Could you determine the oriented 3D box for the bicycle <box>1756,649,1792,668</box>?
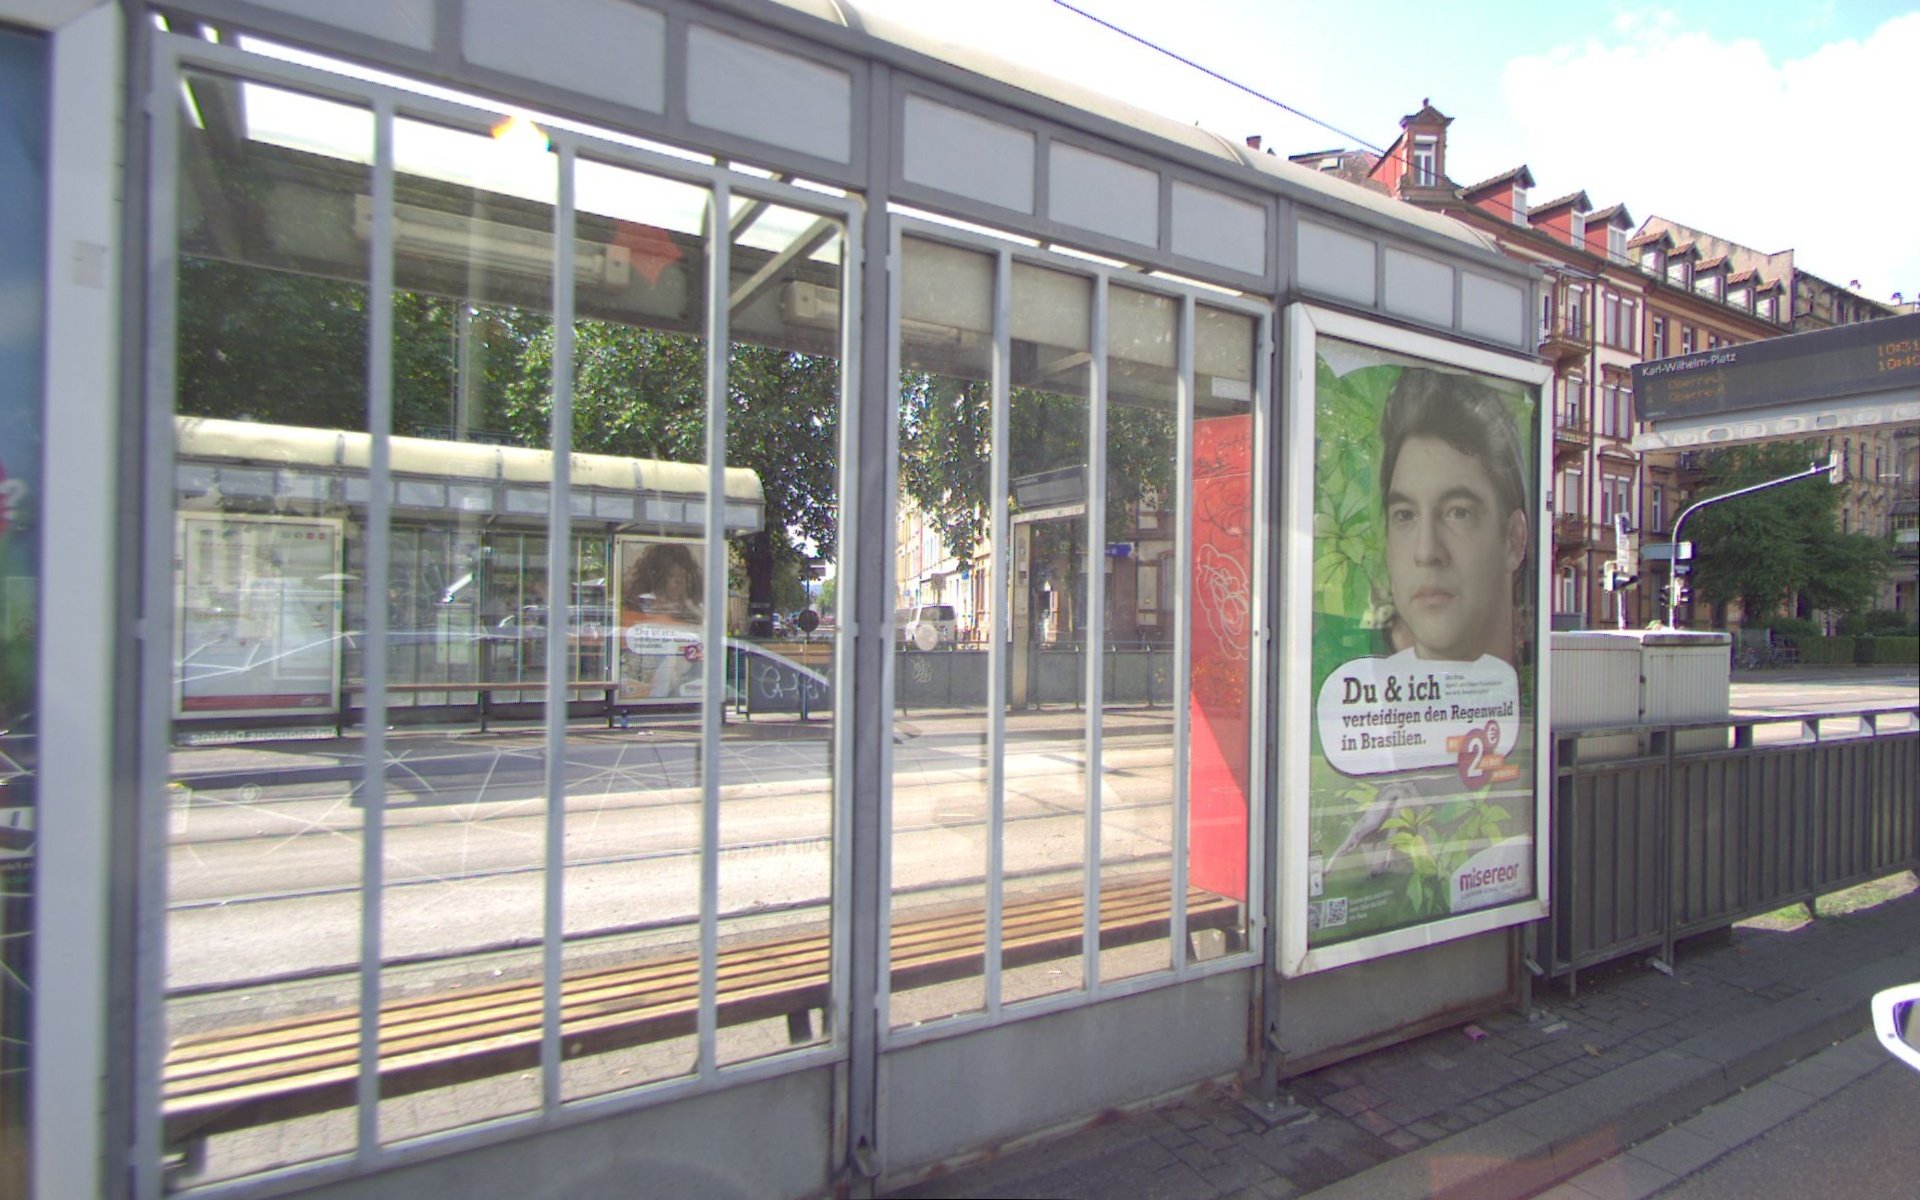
[{"bbox_3d":[31.028,2.228,38.269,1.688,0.686,0.384,1,-1,-26],"label":"bicycle"}]

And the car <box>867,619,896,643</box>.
[{"bbox_3d":[-5.400,2.077,68.728,1.686,1.576,3.915,1,-1,-8],"label":"car"}]

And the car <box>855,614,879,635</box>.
[{"bbox_3d":[-7.867,2.021,84.713,1.861,1.694,3.784,1,-1,-8],"label":"car"}]

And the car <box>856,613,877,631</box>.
[{"bbox_3d":[-8.448,1.974,90.294,1.683,1.524,3.681,1,-1,-8],"label":"car"}]

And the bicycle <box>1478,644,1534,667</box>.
[{"bbox_3d":[19.035,1.926,35.035,1.676,0.757,0.386,1,-1,6],"label":"bicycle"}]

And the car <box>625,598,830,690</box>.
[{"bbox_3d":[-4.946,0.924,21.471,3.953,1.800,1.672,2,-1,-30],"label":"car"}]

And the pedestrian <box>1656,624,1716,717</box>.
[{"bbox_3d":[12.663,1.217,17.527,0.574,1.566,0.664,1,-1,-31],"label":"pedestrian"}]

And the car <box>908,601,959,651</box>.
[{"bbox_3d":[-1.196,1.094,43.276,1.822,2.015,3.944,1,-1,-6],"label":"car"}]

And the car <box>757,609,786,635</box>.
[{"bbox_3d":[-14.155,1.619,75.535,1.963,1.795,3.994,1,0,-8],"label":"car"}]

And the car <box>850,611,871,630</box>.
[{"bbox_3d":[-10.420,2.161,104.622,1.963,1.884,3.995,1,-1,-8],"label":"car"}]

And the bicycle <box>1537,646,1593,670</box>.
[{"bbox_3d":[20.989,2.009,34.853,1.676,0.757,0.386,1,-1,6],"label":"bicycle"}]

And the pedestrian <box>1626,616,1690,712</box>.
[{"bbox_3d":[12.734,1.155,18.333,0.660,1.697,0.767,1,-1,-31],"label":"pedestrian"}]

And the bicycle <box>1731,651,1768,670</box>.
[{"bbox_3d":[29.182,2.219,37.101,1.688,0.662,0.384,1,-1,-26],"label":"bicycle"}]

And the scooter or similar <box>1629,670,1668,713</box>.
[{"bbox_3d":[12.304,1.626,17.945,0.481,0.730,0.412,1,-1,-31],"label":"scooter or similar"}]

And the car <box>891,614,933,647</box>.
[{"bbox_3d":[-2.562,1.586,53.145,1.881,1.685,3.936,1,-1,-7],"label":"car"}]
